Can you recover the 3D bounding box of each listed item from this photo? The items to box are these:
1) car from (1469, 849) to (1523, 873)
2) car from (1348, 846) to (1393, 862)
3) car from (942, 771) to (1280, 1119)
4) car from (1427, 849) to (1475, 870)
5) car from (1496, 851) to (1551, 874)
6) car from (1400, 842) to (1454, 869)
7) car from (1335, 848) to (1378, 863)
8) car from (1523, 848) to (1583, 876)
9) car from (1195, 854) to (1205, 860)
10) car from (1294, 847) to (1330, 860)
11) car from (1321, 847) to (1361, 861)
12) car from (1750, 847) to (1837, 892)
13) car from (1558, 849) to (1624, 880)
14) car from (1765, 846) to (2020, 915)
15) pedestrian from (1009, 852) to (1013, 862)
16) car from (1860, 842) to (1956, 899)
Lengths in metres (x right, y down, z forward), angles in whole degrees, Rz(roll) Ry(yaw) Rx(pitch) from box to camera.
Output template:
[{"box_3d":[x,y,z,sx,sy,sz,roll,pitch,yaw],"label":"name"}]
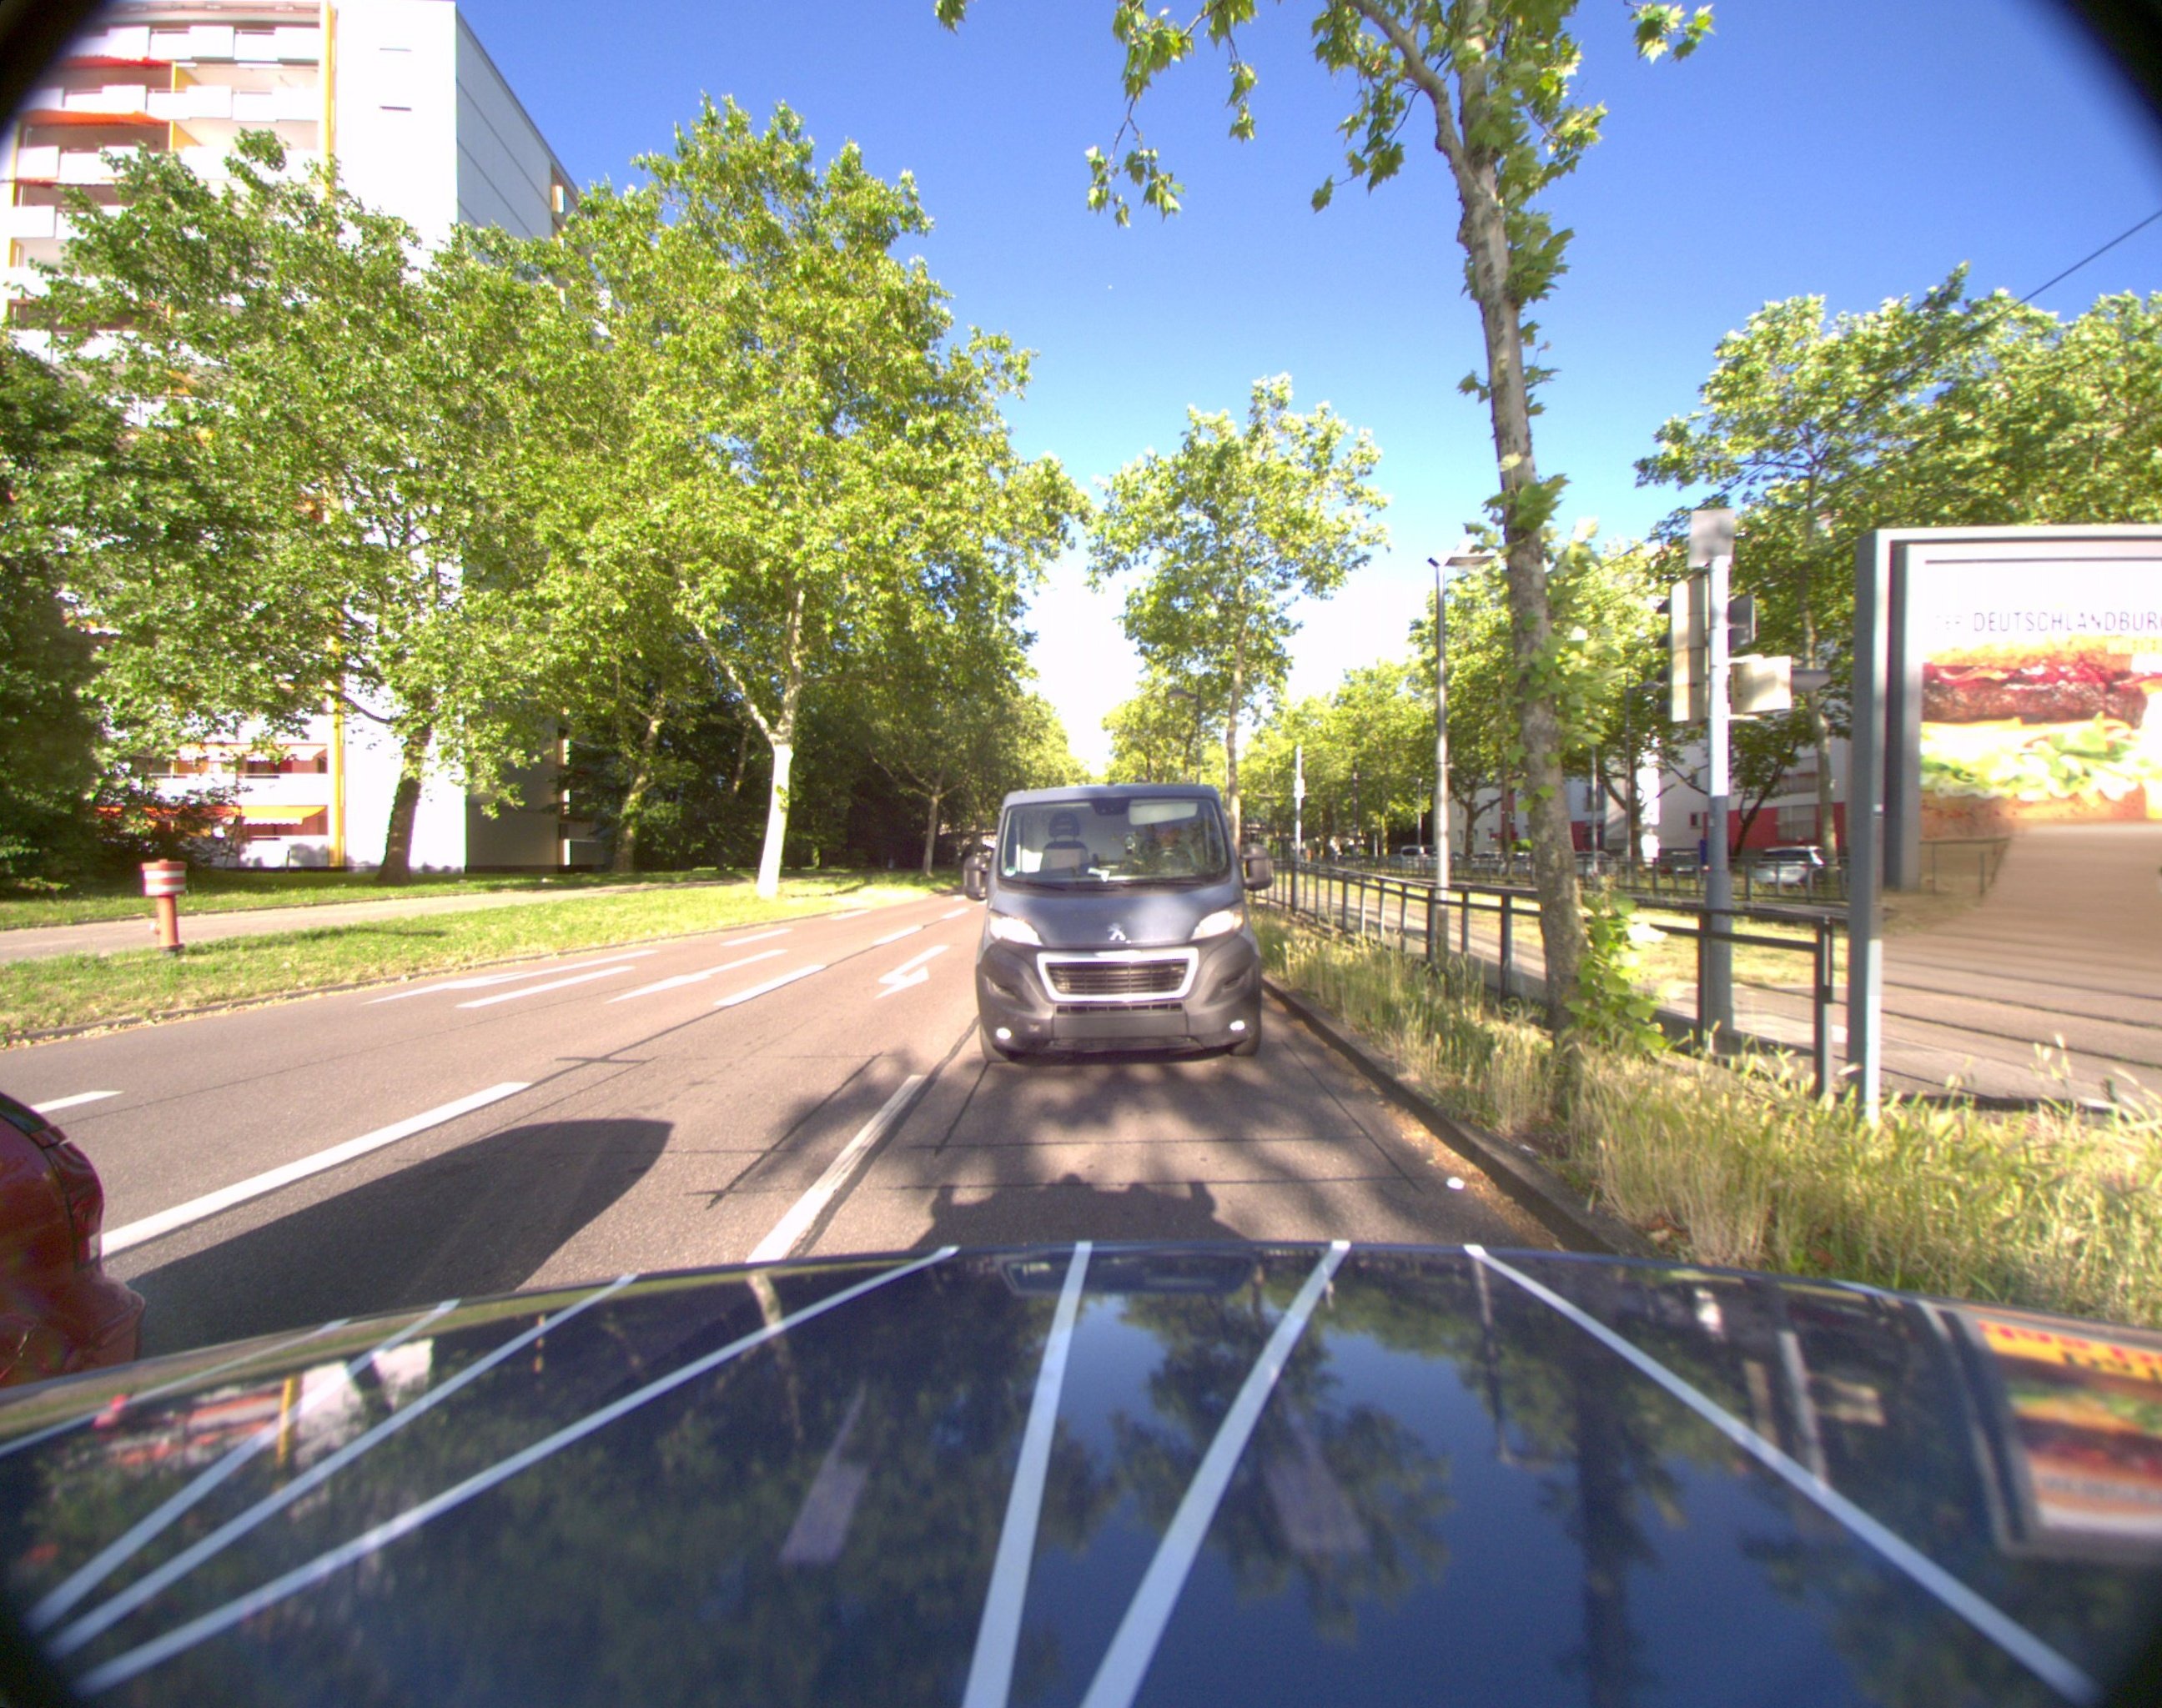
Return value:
[{"box_3d":[25.958,0.414,47.489,3.689,1.440,1.645,-1,1,-39],"label":"car"},{"box_3d":[26.806,-0.011,70.238,4.376,1.367,1.919,-1,1,-39],"label":"car"},{"box_3d":[0.222,0.550,7.255,2.040,2.102,5.113,-2,0,1],"label":"car"},{"box_3d":[26.247,0.346,53.893,3.689,1.388,1.645,-1,1,-39],"label":"car"},{"box_3d":[26.201,0.481,44.955,3.689,1.234,1.645,-1,1,-39],"label":"car"},{"box_3d":[25.962,0.083,56.986,4.376,1.873,1.919,-1,1,-39],"label":"car"},{"box_3d":[26.591,0.097,73.272,4.376,1.367,1.919,-1,1,-39],"label":"car"},{"box_3d":[25.811,0.428,41.512,3.689,1.440,1.645,-1,1,-39],"label":"car"},{"box_3d":[25.483,0.602,163.069,1.672,1.351,3.295,-1,0,1],"label":"car"},{"box_3d":[27.205,-0.062,89.423,4.376,1.367,1.919,-1,1,-39],"label":"car"},{"box_3d":[27.246,0.022,79.569,4.376,1.367,1.919,-1,1,-39],"label":"car"},{"box_3d":[25.056,0.494,26.680,3.689,1.425,1.683,-1,1,-38],"label":"car"},{"box_3d":[25.330,0.500,37.685,3.689,1.384,1.645,-1,1,-38],"label":"car"},{"box_3d":[18.775,0.542,17.855,1.826,1.412,3.756,-1,0,-6],"label":"car"},{"box_3d":[-10.046,0.387,109.164,0.397,1.454,0.418,0,1,39],"label":"pedestrian"},{"box_3d":[25.017,0.461,22.955,3.689,1.558,1.683,-1,1,-38],"label":"car"}]
